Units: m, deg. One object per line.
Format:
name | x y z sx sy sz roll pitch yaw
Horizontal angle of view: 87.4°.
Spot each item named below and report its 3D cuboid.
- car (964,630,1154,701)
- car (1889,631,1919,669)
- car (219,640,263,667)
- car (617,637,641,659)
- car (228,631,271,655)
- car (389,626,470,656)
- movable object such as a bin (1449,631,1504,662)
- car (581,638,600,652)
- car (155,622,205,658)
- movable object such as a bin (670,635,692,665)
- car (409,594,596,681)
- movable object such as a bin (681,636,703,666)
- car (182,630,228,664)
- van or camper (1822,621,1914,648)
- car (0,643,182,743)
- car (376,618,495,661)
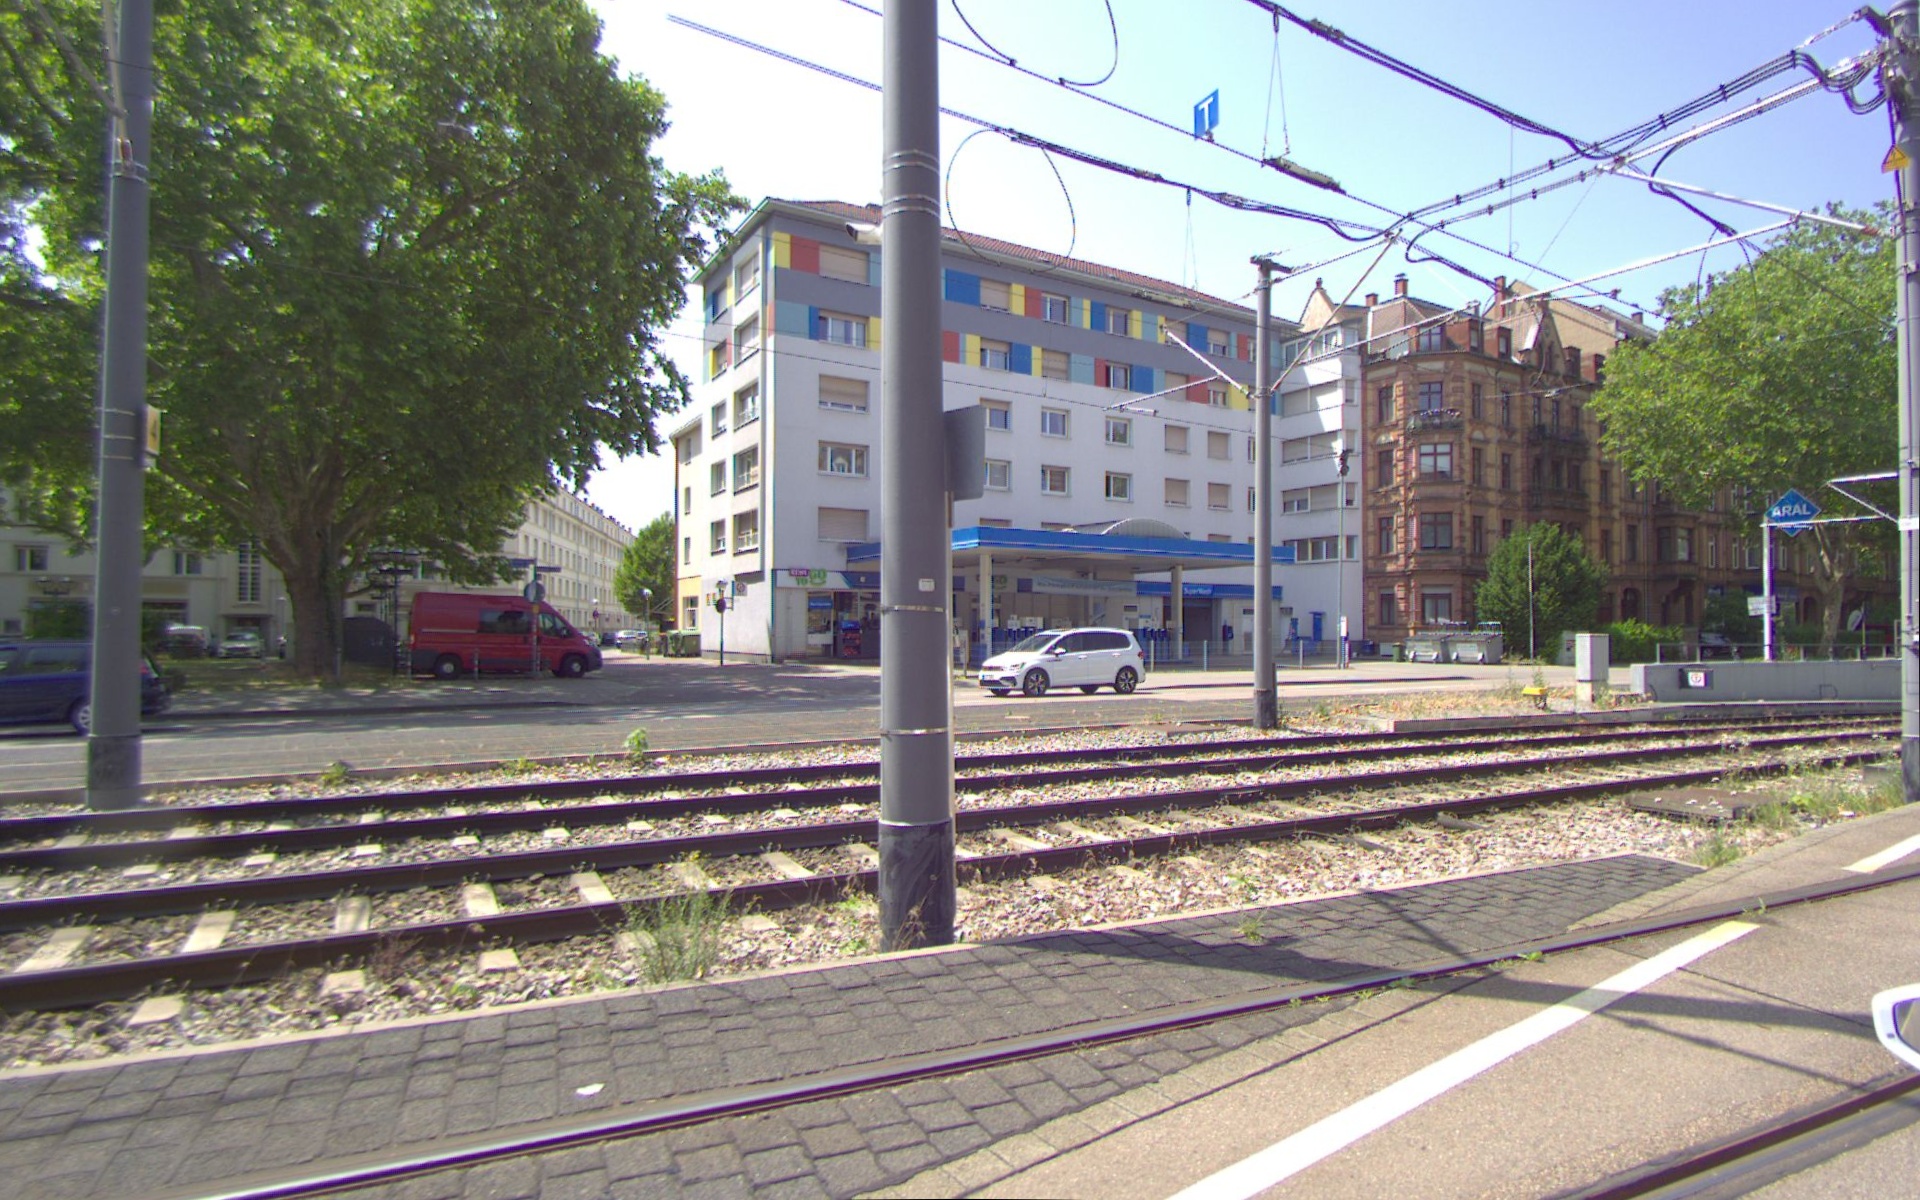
car | 2.525 1.596 25.308 4.548 1.646 1.839 1 -3 -30
car | 51.069 2.599 52.937 4.665 1.929 1.983 1 -1 -32
car | -38.192 2.821 53.432 1.809 1.310 3.832 1 -2 -35
car | -30.168 4.357 91.434 1.798 1.840 3.980 1 -1 -21
car | -44.372 2.673 62.834 1.601 1.428 3.900 1 -1 -27
car | -30.081 2.331 56.992 3.955 1.632 1.983 1 -2 -32
movable object such as a bin | 23.957 2.129 46.596 1.454 1.403 1.772 1 -2 -32
car | -37.493 4.592 102.043 1.701 1.349 3.738 1 -2 -18
car | -40.907 2.062 52.746 1.603 1.769 3.677 1 -1 -31
movable object such as a bin | -14.962 2.694 53.853 1.007 1.581 0.558 1 -1 -30
car | -13.680 1.111 30.137 4.926 2.424 1.837 1 -2 -32
movable object such as a bin | -14.240 2.691 53.363 1.007 1.581 0.558 1 -1 -30
car | -46.535 2.871 61.988 1.553 1.975 3.900 1 -1 -27
van or camper | 65.224 2.450 72.234 1.906 1.861 4.531 1 -1 -24
car | -14.350 1.395 15.314 3.739 1.438 1.588 1 -3 -32
car | -26.072 1.936 50.017 5.059 2.016 1.904 1 -2 -36
